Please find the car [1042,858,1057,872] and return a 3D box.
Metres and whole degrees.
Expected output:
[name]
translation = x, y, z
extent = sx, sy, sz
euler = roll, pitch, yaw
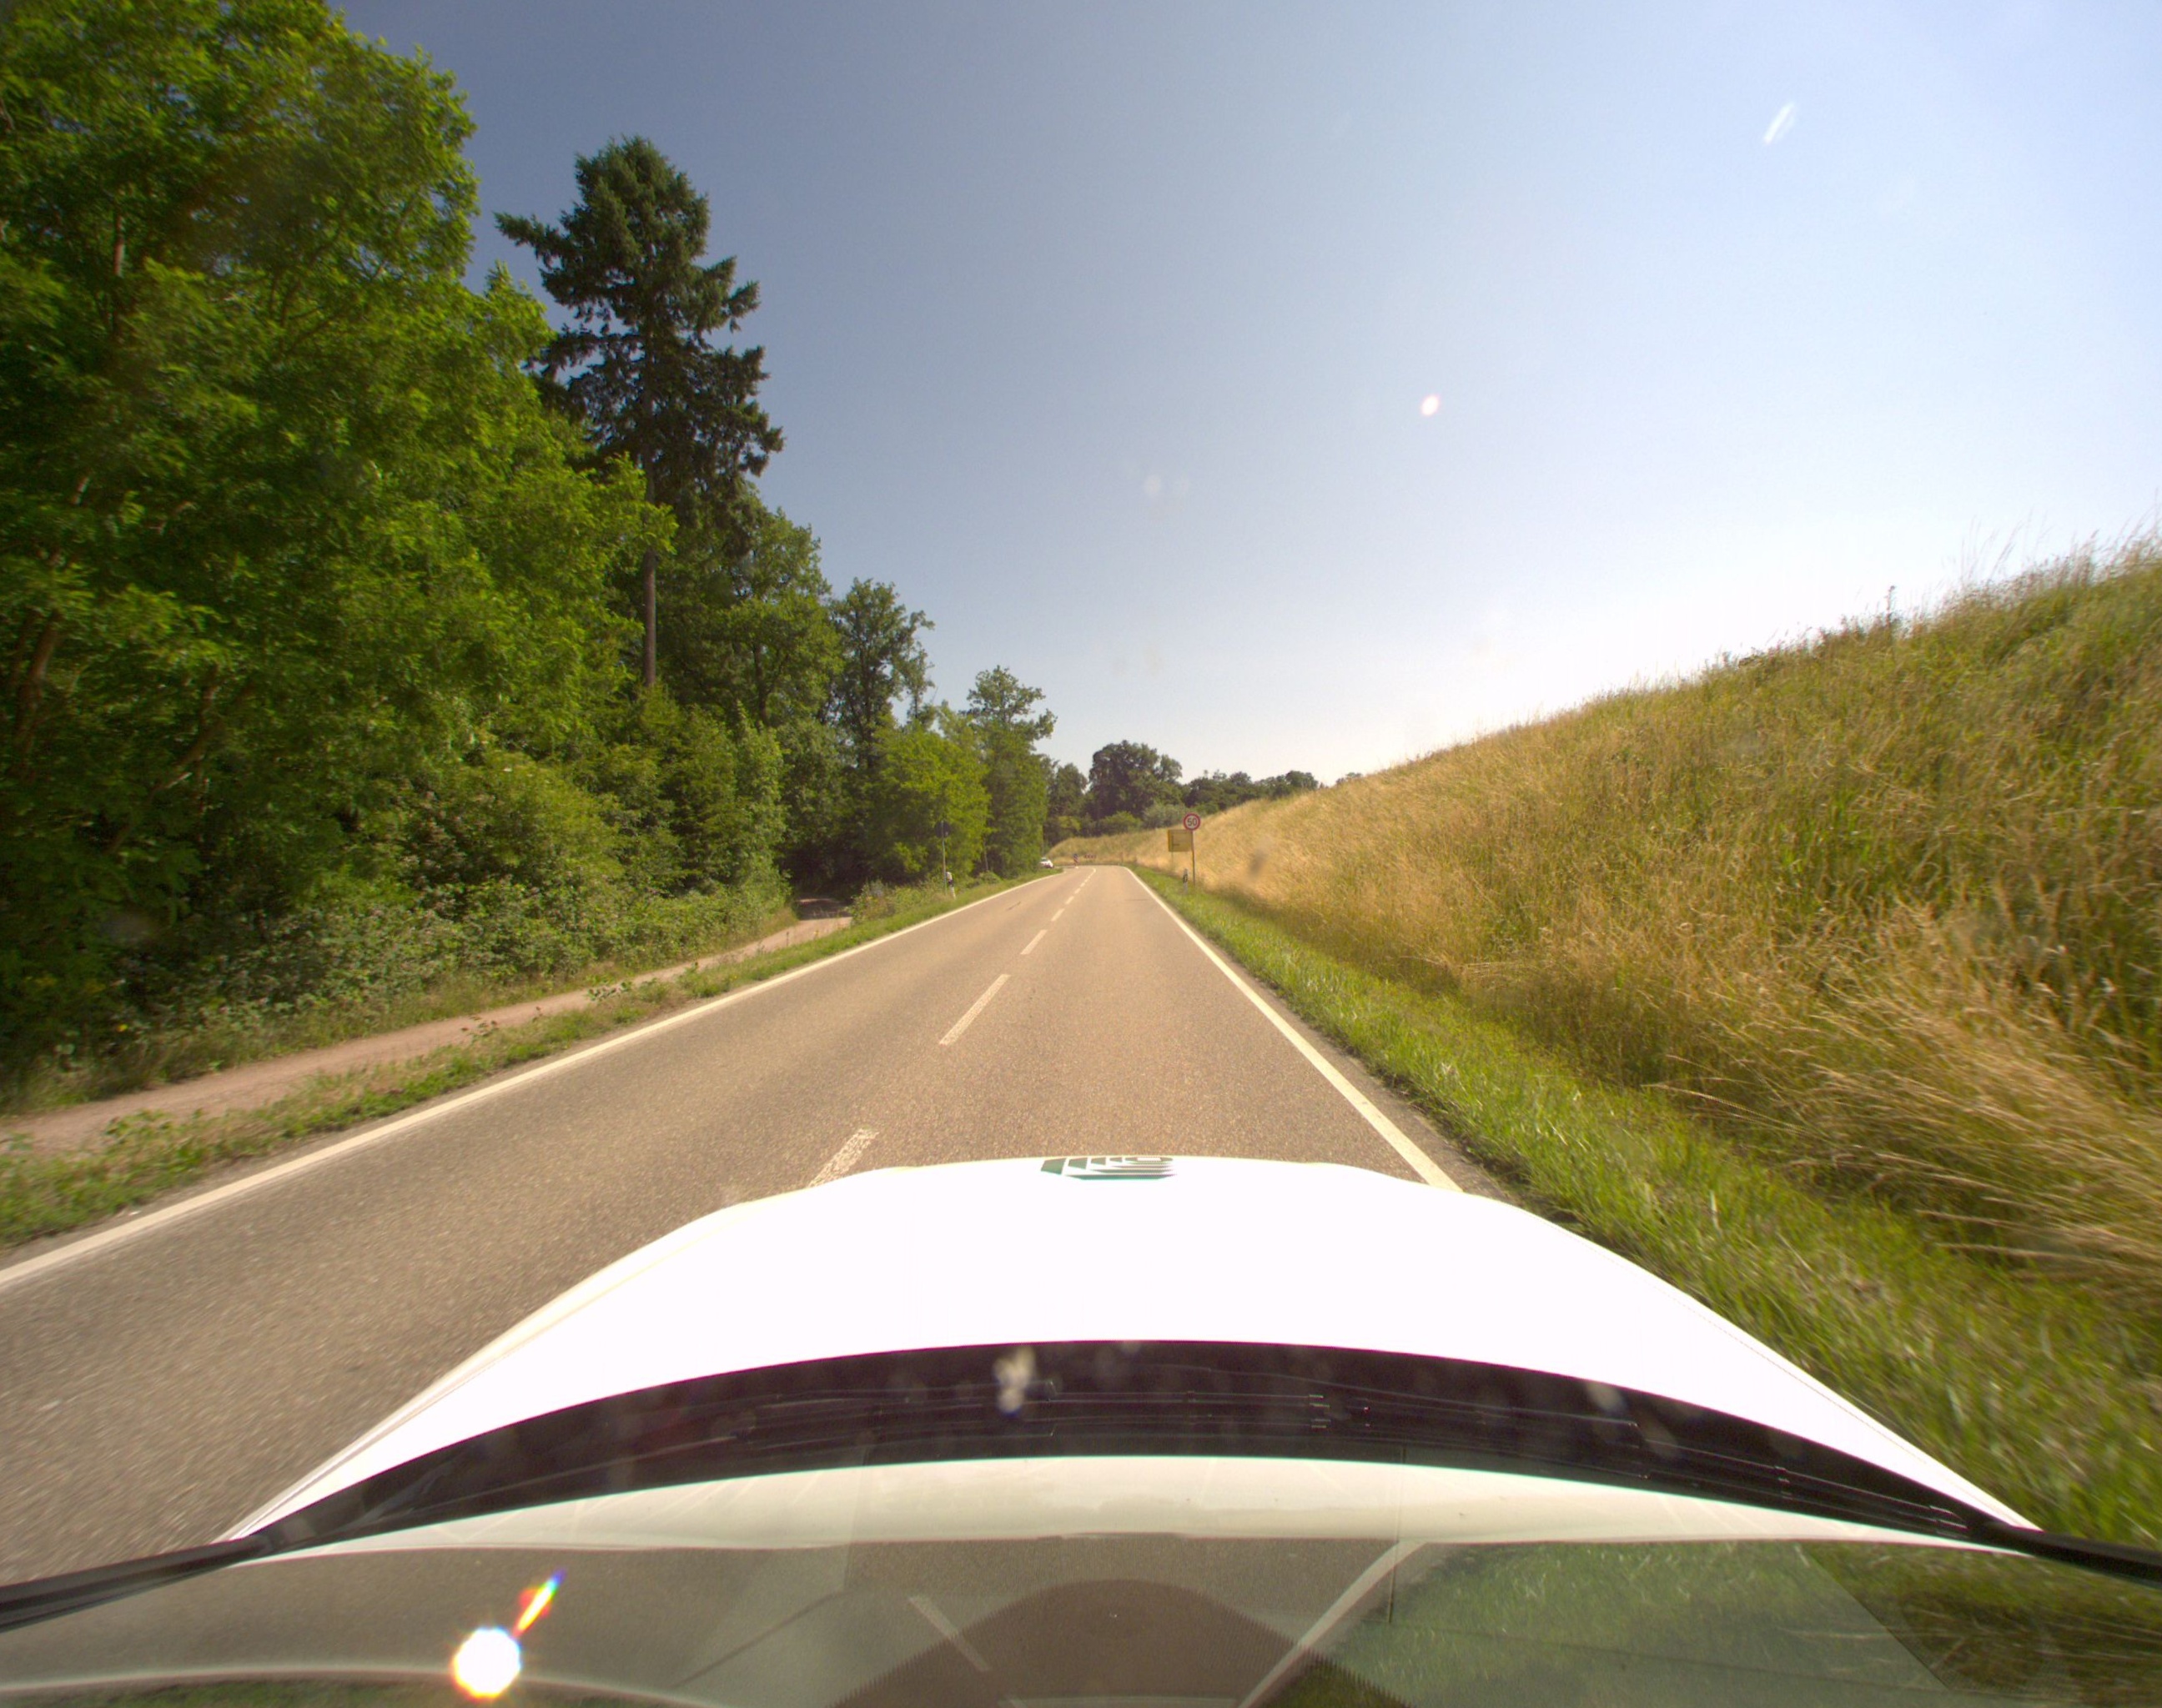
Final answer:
[car]
translation = -4.263, 1.486, 109.572
extent = 1.806, 1.676, 3.995
euler = -4, 0, -3
